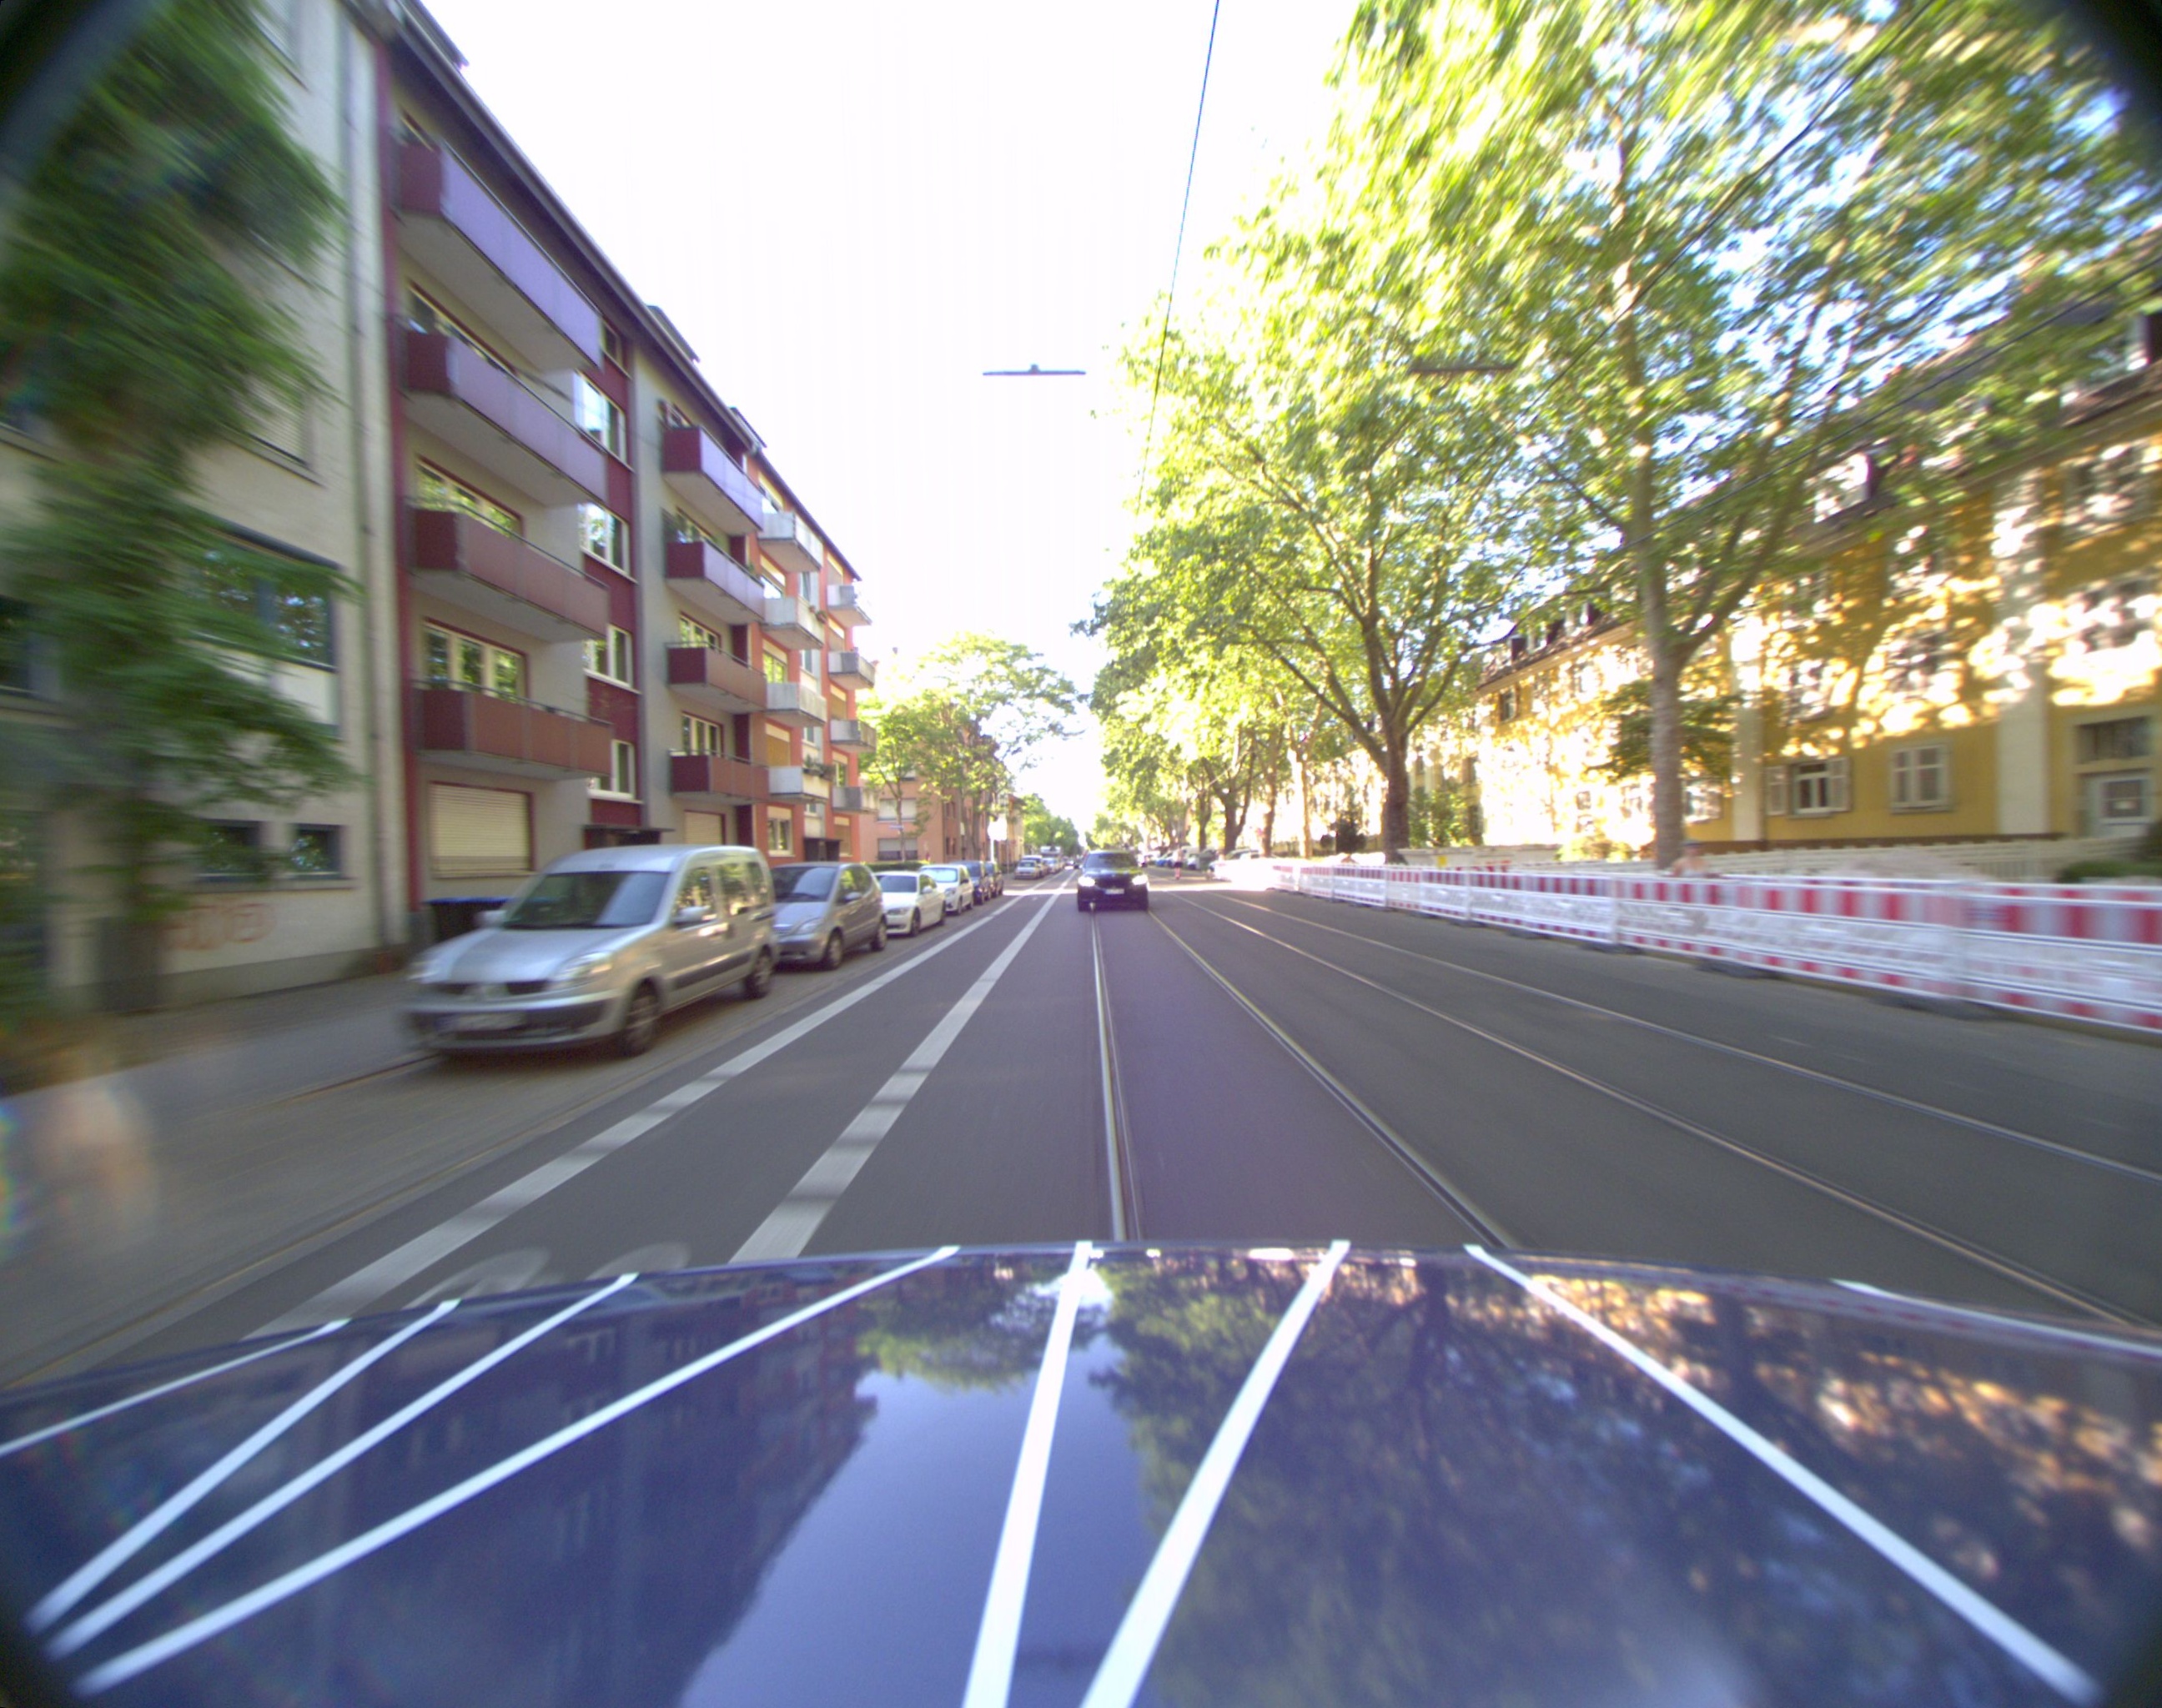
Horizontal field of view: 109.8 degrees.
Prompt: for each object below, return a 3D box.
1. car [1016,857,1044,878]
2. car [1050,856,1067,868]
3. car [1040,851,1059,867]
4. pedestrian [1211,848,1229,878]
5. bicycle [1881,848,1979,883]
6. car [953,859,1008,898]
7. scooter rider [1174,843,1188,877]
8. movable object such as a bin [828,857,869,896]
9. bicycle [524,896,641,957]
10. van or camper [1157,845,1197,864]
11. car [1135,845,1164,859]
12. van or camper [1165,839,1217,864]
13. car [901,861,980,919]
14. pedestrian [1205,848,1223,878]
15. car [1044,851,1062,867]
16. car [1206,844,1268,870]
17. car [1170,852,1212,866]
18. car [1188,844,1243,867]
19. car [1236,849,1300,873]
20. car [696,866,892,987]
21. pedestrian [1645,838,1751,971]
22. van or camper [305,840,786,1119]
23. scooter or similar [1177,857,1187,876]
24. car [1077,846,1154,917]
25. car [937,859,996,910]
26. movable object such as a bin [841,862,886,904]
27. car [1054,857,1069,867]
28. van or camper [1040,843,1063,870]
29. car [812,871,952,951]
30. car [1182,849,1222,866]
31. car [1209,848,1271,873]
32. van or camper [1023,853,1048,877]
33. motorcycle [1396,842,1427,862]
[{"bbox_3d":[-3.717,0.986,56.261,1.710,1.464,4.000,-1,0,1],"label":"car"},{"bbox_3d":[-3.052,1.087,102.584,1.998,1.485,4.740,0,0,1],"label":"car"},{"bbox_3d":[-3.135,0.493,77.349,1.793,1.513,4.322,0,0,-1],"label":"car"},{"bbox_3d":[8.063,0.514,44.113,0.824,1.735,0.796,-3,1,1],"label":"pedestrian"},{"bbox_3d":[20.922,0.274,18.768,0.507,0.814,1.643,-2,0,-3],"label":"bicycle"},{"bbox_3d":[-4.102,0.963,31.480,1.738,1.453,3.916,0,0,0],"label":"car"},{"bbox_3d":[5.900,0.360,44.863,0.651,1.946,0.624,-3,1,1],"label":"scooter rider"},{"bbox_3d":[-8.451,0.803,27.627,1.155,1.319,0.775,-3,1,1],"label":"movable object such as a bin"},{"bbox_3d":[-9.037,1.304,13.792,1.897,1.023,0.476,0,1,6],"label":"bicycle"},{"bbox_3d":[12.132,0.116,96.341,4.832,2.177,2.119,-2,0,0],"label":"van or camper"},{"bbox_3d":[12.782,-0.311,142.204,5.019,2.383,2.028,-2,0,-1],"label":"car"},{"bbox_3d":[12.065,-0.230,83.628,5.403,2.501,2.445,-2,0,0],"label":"van or camper"},{"bbox_3d":[-4.170,1.020,23.090,1.595,1.518,3.835,0,1,1],"label":"car"},{"bbox_3d":[7.882,0.508,45.015,0.824,1.735,0.796,-3,1,1],"label":"pedestrian"},{"bbox_3d":[-3.023,0.543,82.929,1.797,1.618,4.276,0,0,0],"label":"car"},{"bbox_3d":[11.718,0.203,57.181,4.210,1.747,1.739,-2,0,-1],"label":"car"},{"bbox_3d":[11.720,0.508,80.964,4.274,1.390,1.753,-1,0,1],"label":"car"},{"bbox_3d":[12.397,0.150,70.334,4.669,1.934,1.961,-2,0,-2],"label":"car"},{"bbox_3d":[12.449,0.466,50.765,3.857,1.489,1.862,-1,0,1],"label":"car"},{"bbox_3d":[-4.347,1.019,12.113,1.664,1.571,3.589,0,0,1],"label":"car"},{"bbox_3d":[8.121,0.643,10.034,0.718,1.660,0.778,-3,1,1],"label":"pedestrian"},{"bbox_3d":[-4.432,0.844,7.253,1.673,1.872,4.209,-1,0,-2],"label":"van or camper"},{"bbox_3d":[5.936,0.725,44.845,0.408,1.077,1.338,-3,1,1],"label":"scooter or similar"},{"bbox_3d":[0.913,0.706,22.030,1.924,1.741,4.806,-2,0,0],"label":"car"},{"bbox_3d":[-4.053,1.040,27.480,1.530,1.581,3.751,-3,1,-1],"label":"car"},{"bbox_3d":[-7.511,0.973,26.307,0.969,1.319,1.721,-3,1,1],"label":"movable object such as a bin"},{"bbox_3d":[-2.817,1.104,111.495,1.998,1.372,4.739,0,0,0],"label":"car"},{"bbox_3d":[-3.388,0.245,89.225,2.468,3.046,6.267,0,0,-1],"label":"van or camper"},{"bbox_3d":[-4.182,1.128,16.775,1.663,1.391,4.740,0,0,2],"label":"car"},{"bbox_3d":[12.522,0.342,78.981,3.857,1.653,1.862,-1,0,1],"label":"car"},{"bbox_3d":[11.402,0.478,54.783,4.242,1.678,1.934,-1,0,8],"label":"car"},{"bbox_3d":[-3.657,0.869,61.903,1.759,1.853,4.830,-1,0,0],"label":"van or camper"},{"bbox_3d":[21.651,-0.116,49.787,1.714,1.234,0.523,-2,0,2],"label":"motorcycle"}]
